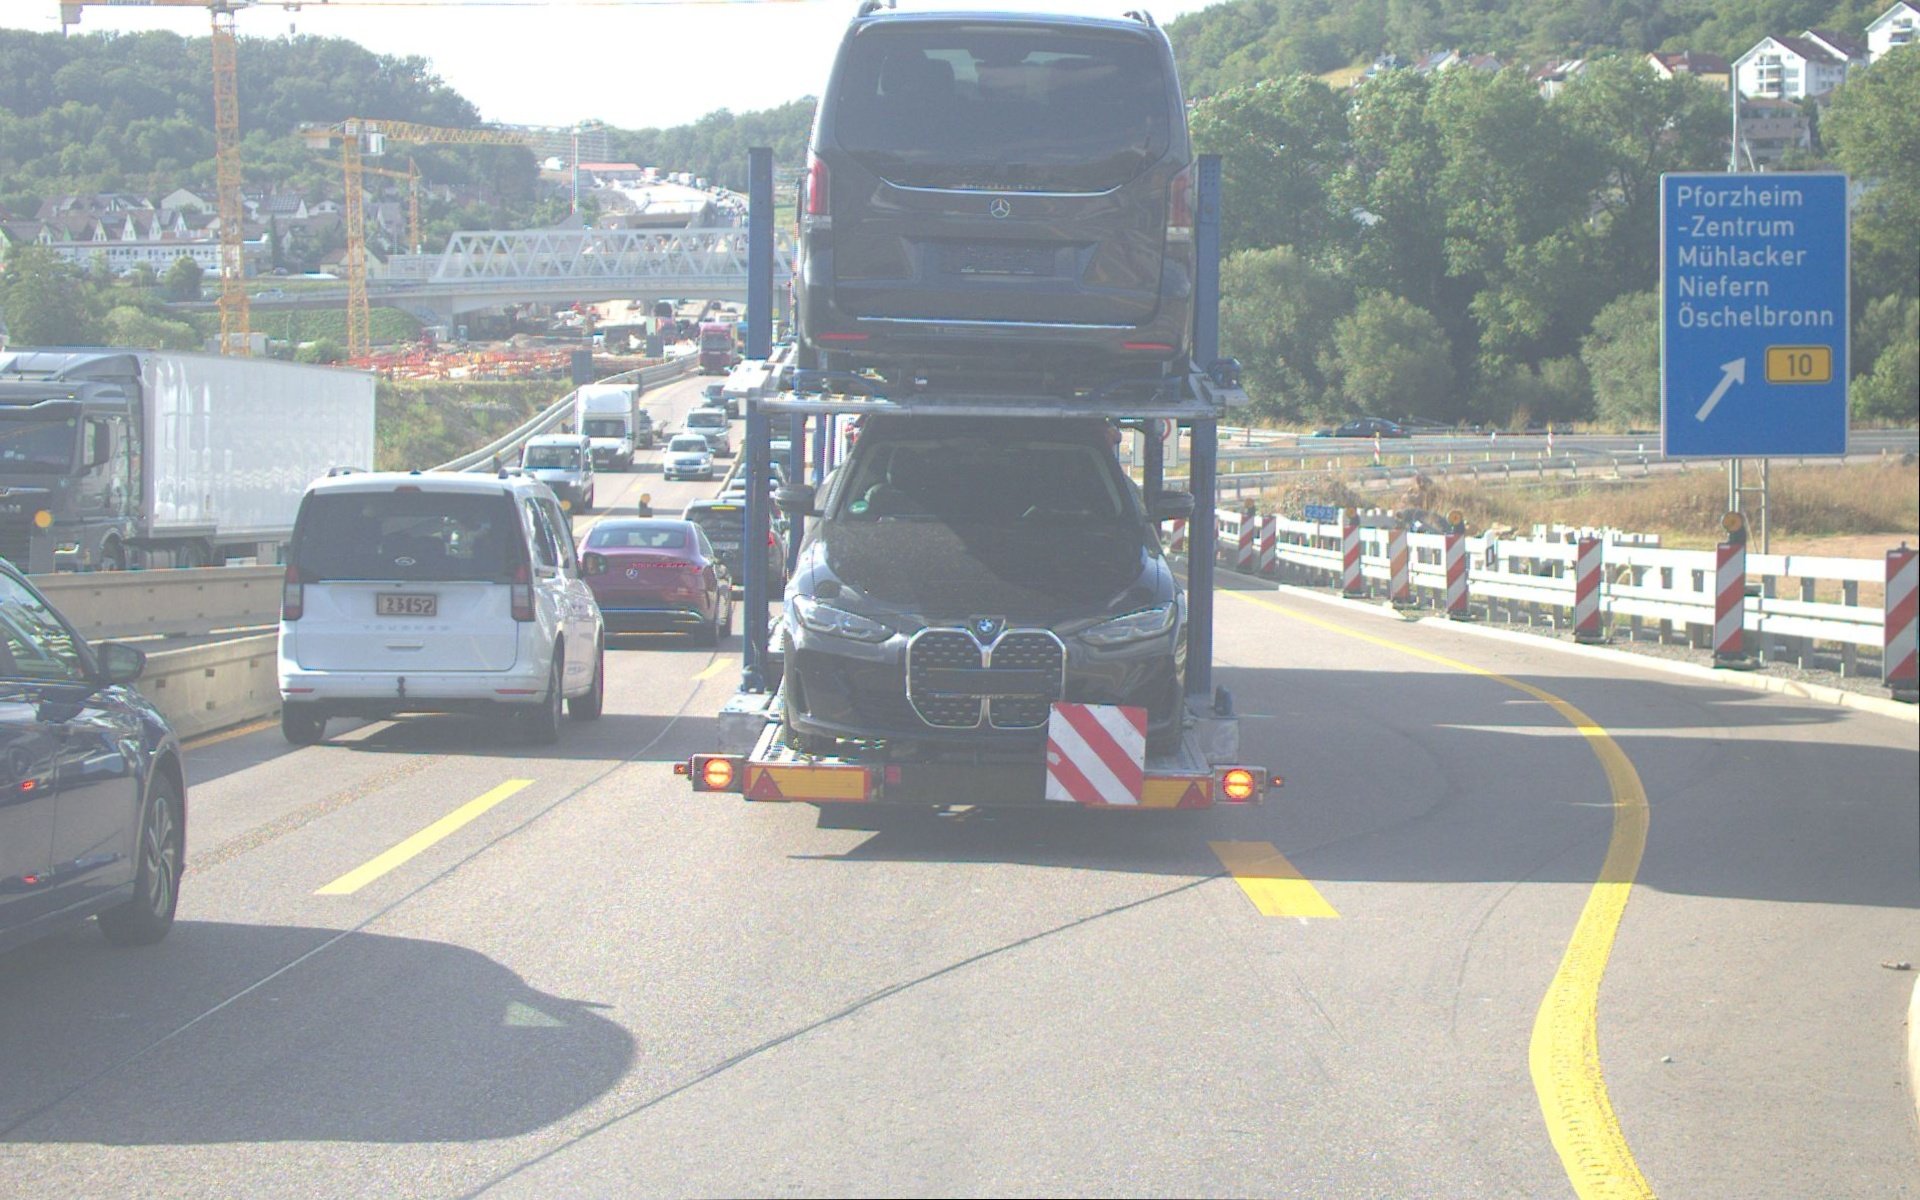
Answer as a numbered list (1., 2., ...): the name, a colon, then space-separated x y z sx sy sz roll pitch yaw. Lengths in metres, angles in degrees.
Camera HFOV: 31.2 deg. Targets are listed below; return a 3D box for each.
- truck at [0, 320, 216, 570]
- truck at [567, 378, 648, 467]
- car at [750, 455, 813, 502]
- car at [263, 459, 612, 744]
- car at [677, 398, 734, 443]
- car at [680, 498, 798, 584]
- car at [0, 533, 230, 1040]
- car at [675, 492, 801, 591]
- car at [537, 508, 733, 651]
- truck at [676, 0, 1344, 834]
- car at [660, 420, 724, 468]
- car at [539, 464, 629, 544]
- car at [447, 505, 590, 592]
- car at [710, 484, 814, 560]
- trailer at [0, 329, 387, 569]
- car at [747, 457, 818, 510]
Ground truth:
1. truck: -14.271 -2.402 55.282 2.777 3.775 6.017 1 1 5
2. truck: -14.399 -7.219 140.757 2.700 3.300 7.538 1 1 -1
3. car: -6.220 -4.251 120.402 1.993 1.546 4.000 1 1 0
4. car: -3.523 -0.017 23.858 1.823 1.786 4.000 1 1 0
5. car: -11.129 -7.888 150.747 2.125 1.759 5.032 2 4 -1
6. car: -4.166 -1.119 65.350 1.993 1.546 4.000 1 1 0
7. car: -3.539 0.503 10.552 1.722 1.417 4.000 0 1 0
8. car: -3.685 -0.963 57.018 1.993 1.546 4.001 1 1 -4
9. car: -3.753 -0.259 40.342 1.993 1.551 4.401 1 1 -2
10. truck: 0.078 -1.141 24.164 2.753 3.941 18.891 2 1 -1
11. car: -10.325 -6.018 132.597 2.125 1.668 4.274 1 4 -1
12. car: -11.769 -2.985 108.007 2.258 2.394 5.868 1 1 -1
13. car: -9.101 -1.064 71.150 1.994 1.720 4.122 1 1 7
14. car: -4.201 -1.656 73.471 1.993 1.546 4.000 1 1 0
15. trailer: -13.582 -2.524 62.087 2.821 3.828 13.801 1 1 6
16. car: -5.520 -3.637 107.408 1.993 1.546 4.000 1 1 0
